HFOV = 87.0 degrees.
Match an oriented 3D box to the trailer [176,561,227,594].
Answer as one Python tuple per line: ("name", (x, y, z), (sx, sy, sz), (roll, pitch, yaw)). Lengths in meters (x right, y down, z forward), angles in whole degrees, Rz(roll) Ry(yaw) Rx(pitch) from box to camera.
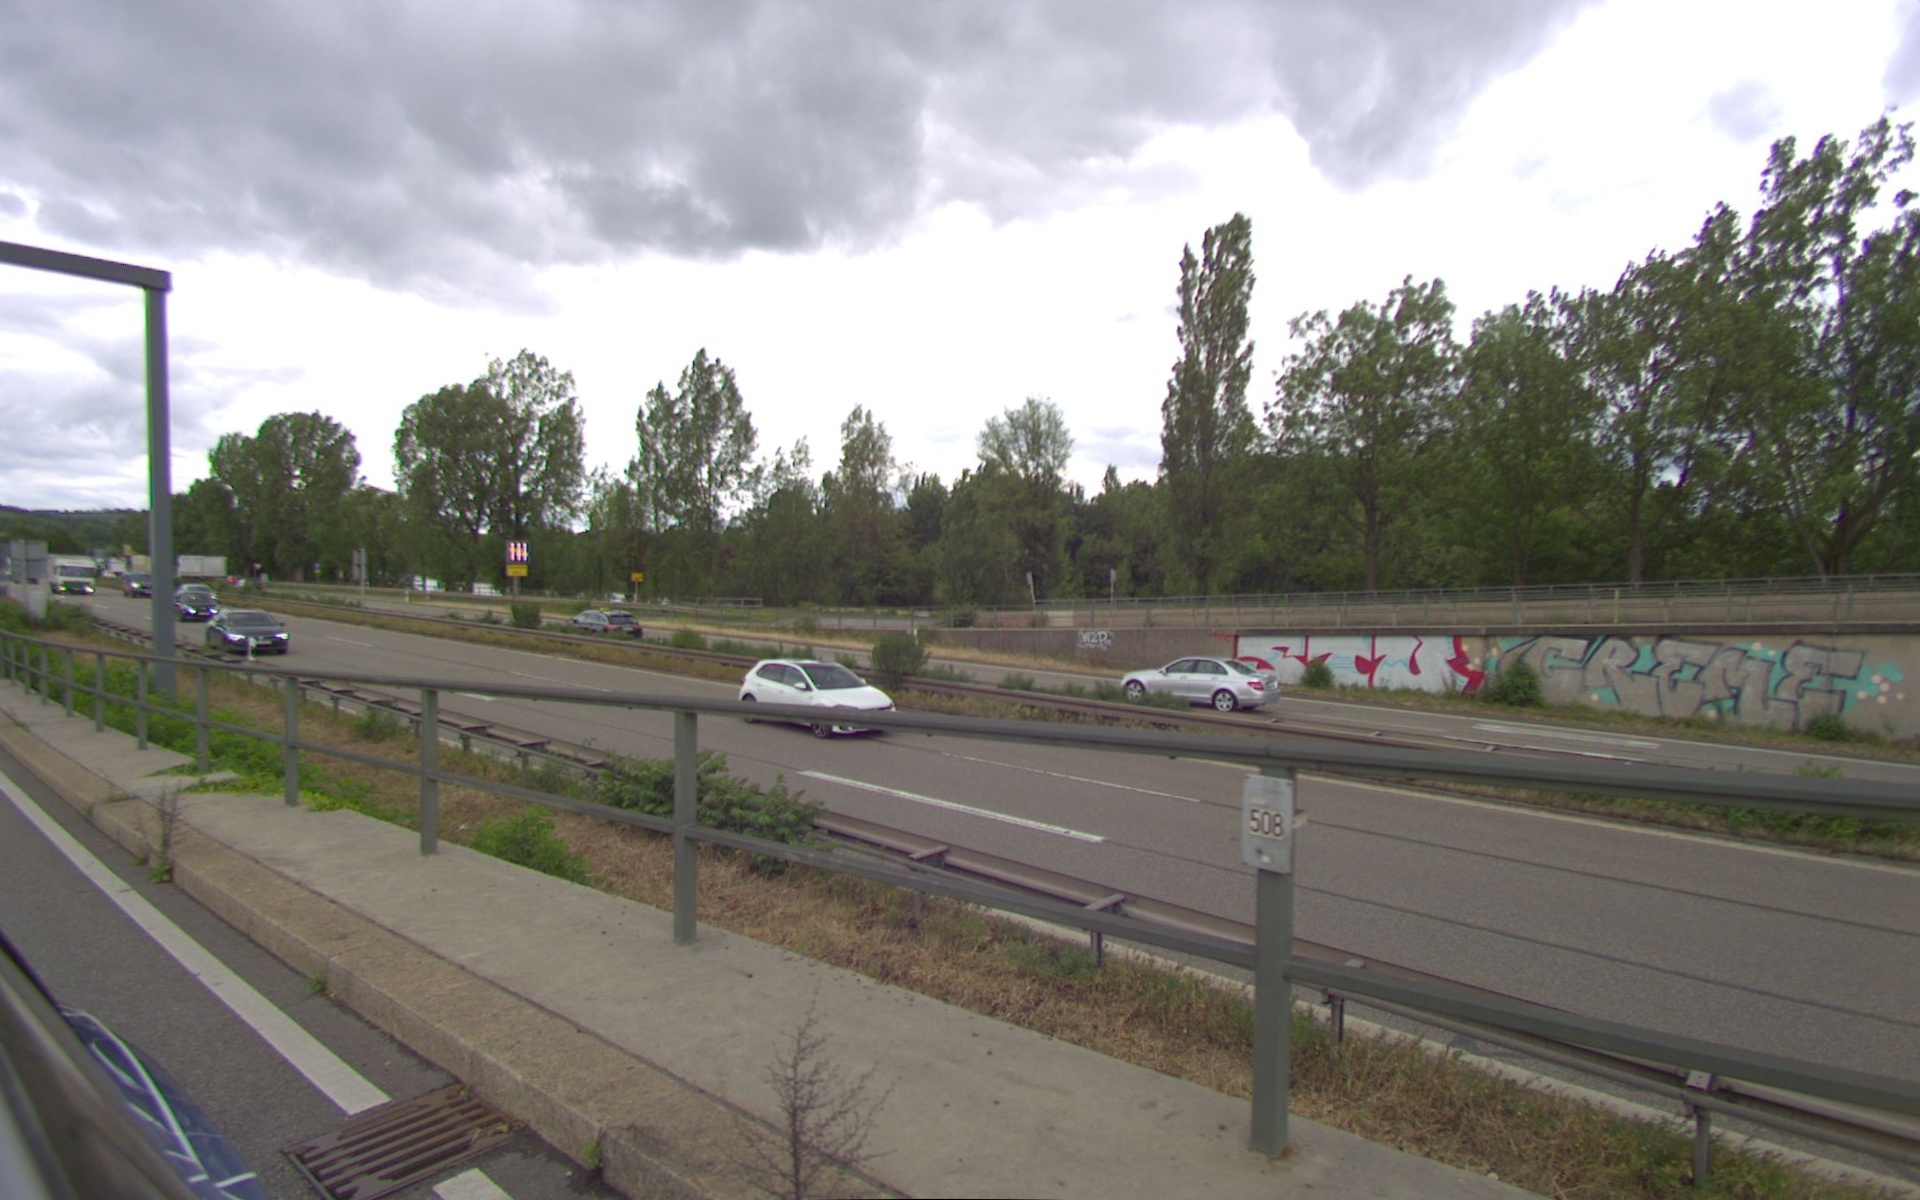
("trailer", (-94.666, -2.897, 126.233), (13.515, 3.978, 2.760), (2, 3, 43))

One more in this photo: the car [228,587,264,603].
("car", (-67.729, -0.461, 95.981), (4.000, 1.446, 1.972), (1, 0, 43))

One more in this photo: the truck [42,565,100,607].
("truck", (-73.198, -1.202, 83.288), (7.573, 3.182, 2.997), (3, 1, 45))

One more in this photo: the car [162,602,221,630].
("car", (-38.823, 0.796, 51.099), (3.647, 1.337, 1.705), (1, 0, 42))

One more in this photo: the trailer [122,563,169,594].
("trailer", (-127.275, -3.357, 158.033), (14.781, 4.708, 3.426), (2, 2, 43))

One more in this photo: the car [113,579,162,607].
("car", (-65.357, -0.598, 80.425), (5.336, 2.029, 2.072), (3, 1, 40))

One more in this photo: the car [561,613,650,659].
("car", (-15.173, 1.486, 43.190), (4.001, 1.741, 1.971), (1, 0, 44))

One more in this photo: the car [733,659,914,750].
("car", (-3.029, 2.169, 21.941), (4.002, 1.511, 1.833), (1, 0, 44))

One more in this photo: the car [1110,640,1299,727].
("car", (6.792, 2.241, 28.395), (4.702, 1.704, 1.973), (6, 3, 41))

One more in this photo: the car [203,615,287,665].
("car", (-24.726, 1.335, 34.924), (1.911, 1.512, 4.310), (1, -1, -41))
